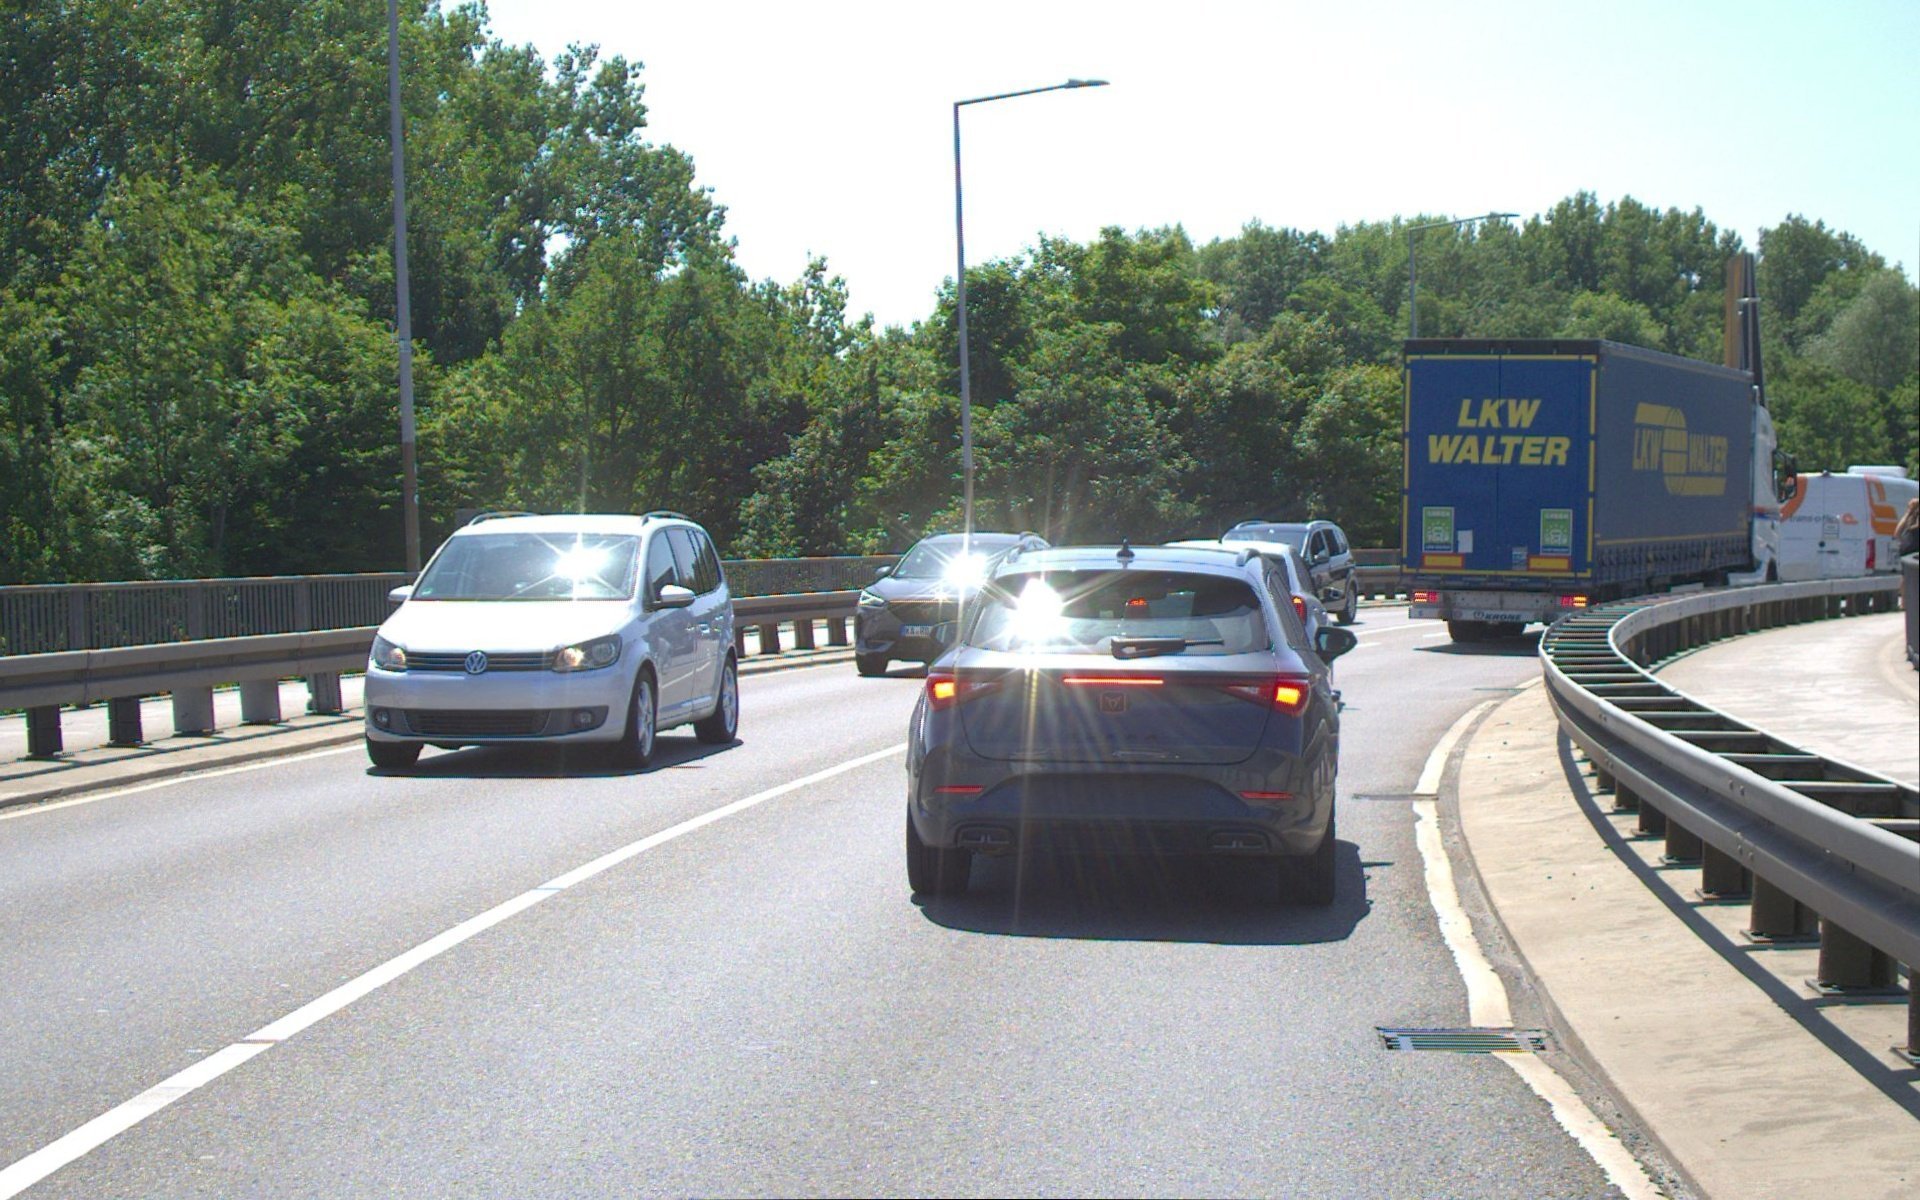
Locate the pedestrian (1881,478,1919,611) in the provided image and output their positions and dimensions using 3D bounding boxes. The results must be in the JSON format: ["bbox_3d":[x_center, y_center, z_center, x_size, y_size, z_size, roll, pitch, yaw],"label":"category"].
[{"bbox_3d":[14.185,-0.830,51.283,0.737,1.960,0.733,1,1,22],"label":"pedestrian"}]

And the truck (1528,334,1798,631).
[{"bbox_3d":[11.765,-1.862,56.981,3.173,4.569,7.389,1,1,21],"label":"truck"}]

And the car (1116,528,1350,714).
[{"bbox_3d":[2.386,0.143,29.383,1.594,1.456,3.543,1,1,11],"label":"car"}]

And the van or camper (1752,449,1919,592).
[{"bbox_3d":[17.703,-1.588,68.136,2.207,2.702,5.916,1,2,30],"label":"van or camper"}]

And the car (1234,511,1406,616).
[{"bbox_3d":[5.739,-0.572,54.423,1.908,1.584,3.996,0,1,18],"label":"car"}]

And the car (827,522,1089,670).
[{"bbox_3d":[0.050,-0.068,36.930,1.887,1.491,4.313,0,1,13],"label":"car"}]

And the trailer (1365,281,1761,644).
[{"bbox_3d":[9.114,-1.836,50.178,3.137,4.598,12.934,2,1,21],"label":"trailer"}]

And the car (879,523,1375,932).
[{"bbox_3d":[0.691,0.434,14.788,1.845,1.493,3.758,1,2,2],"label":"car"}]

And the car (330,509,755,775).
[{"bbox_3d":[-2.665,0.219,22.909,1.716,1.609,4.117,0,1,9],"label":"car"}]
